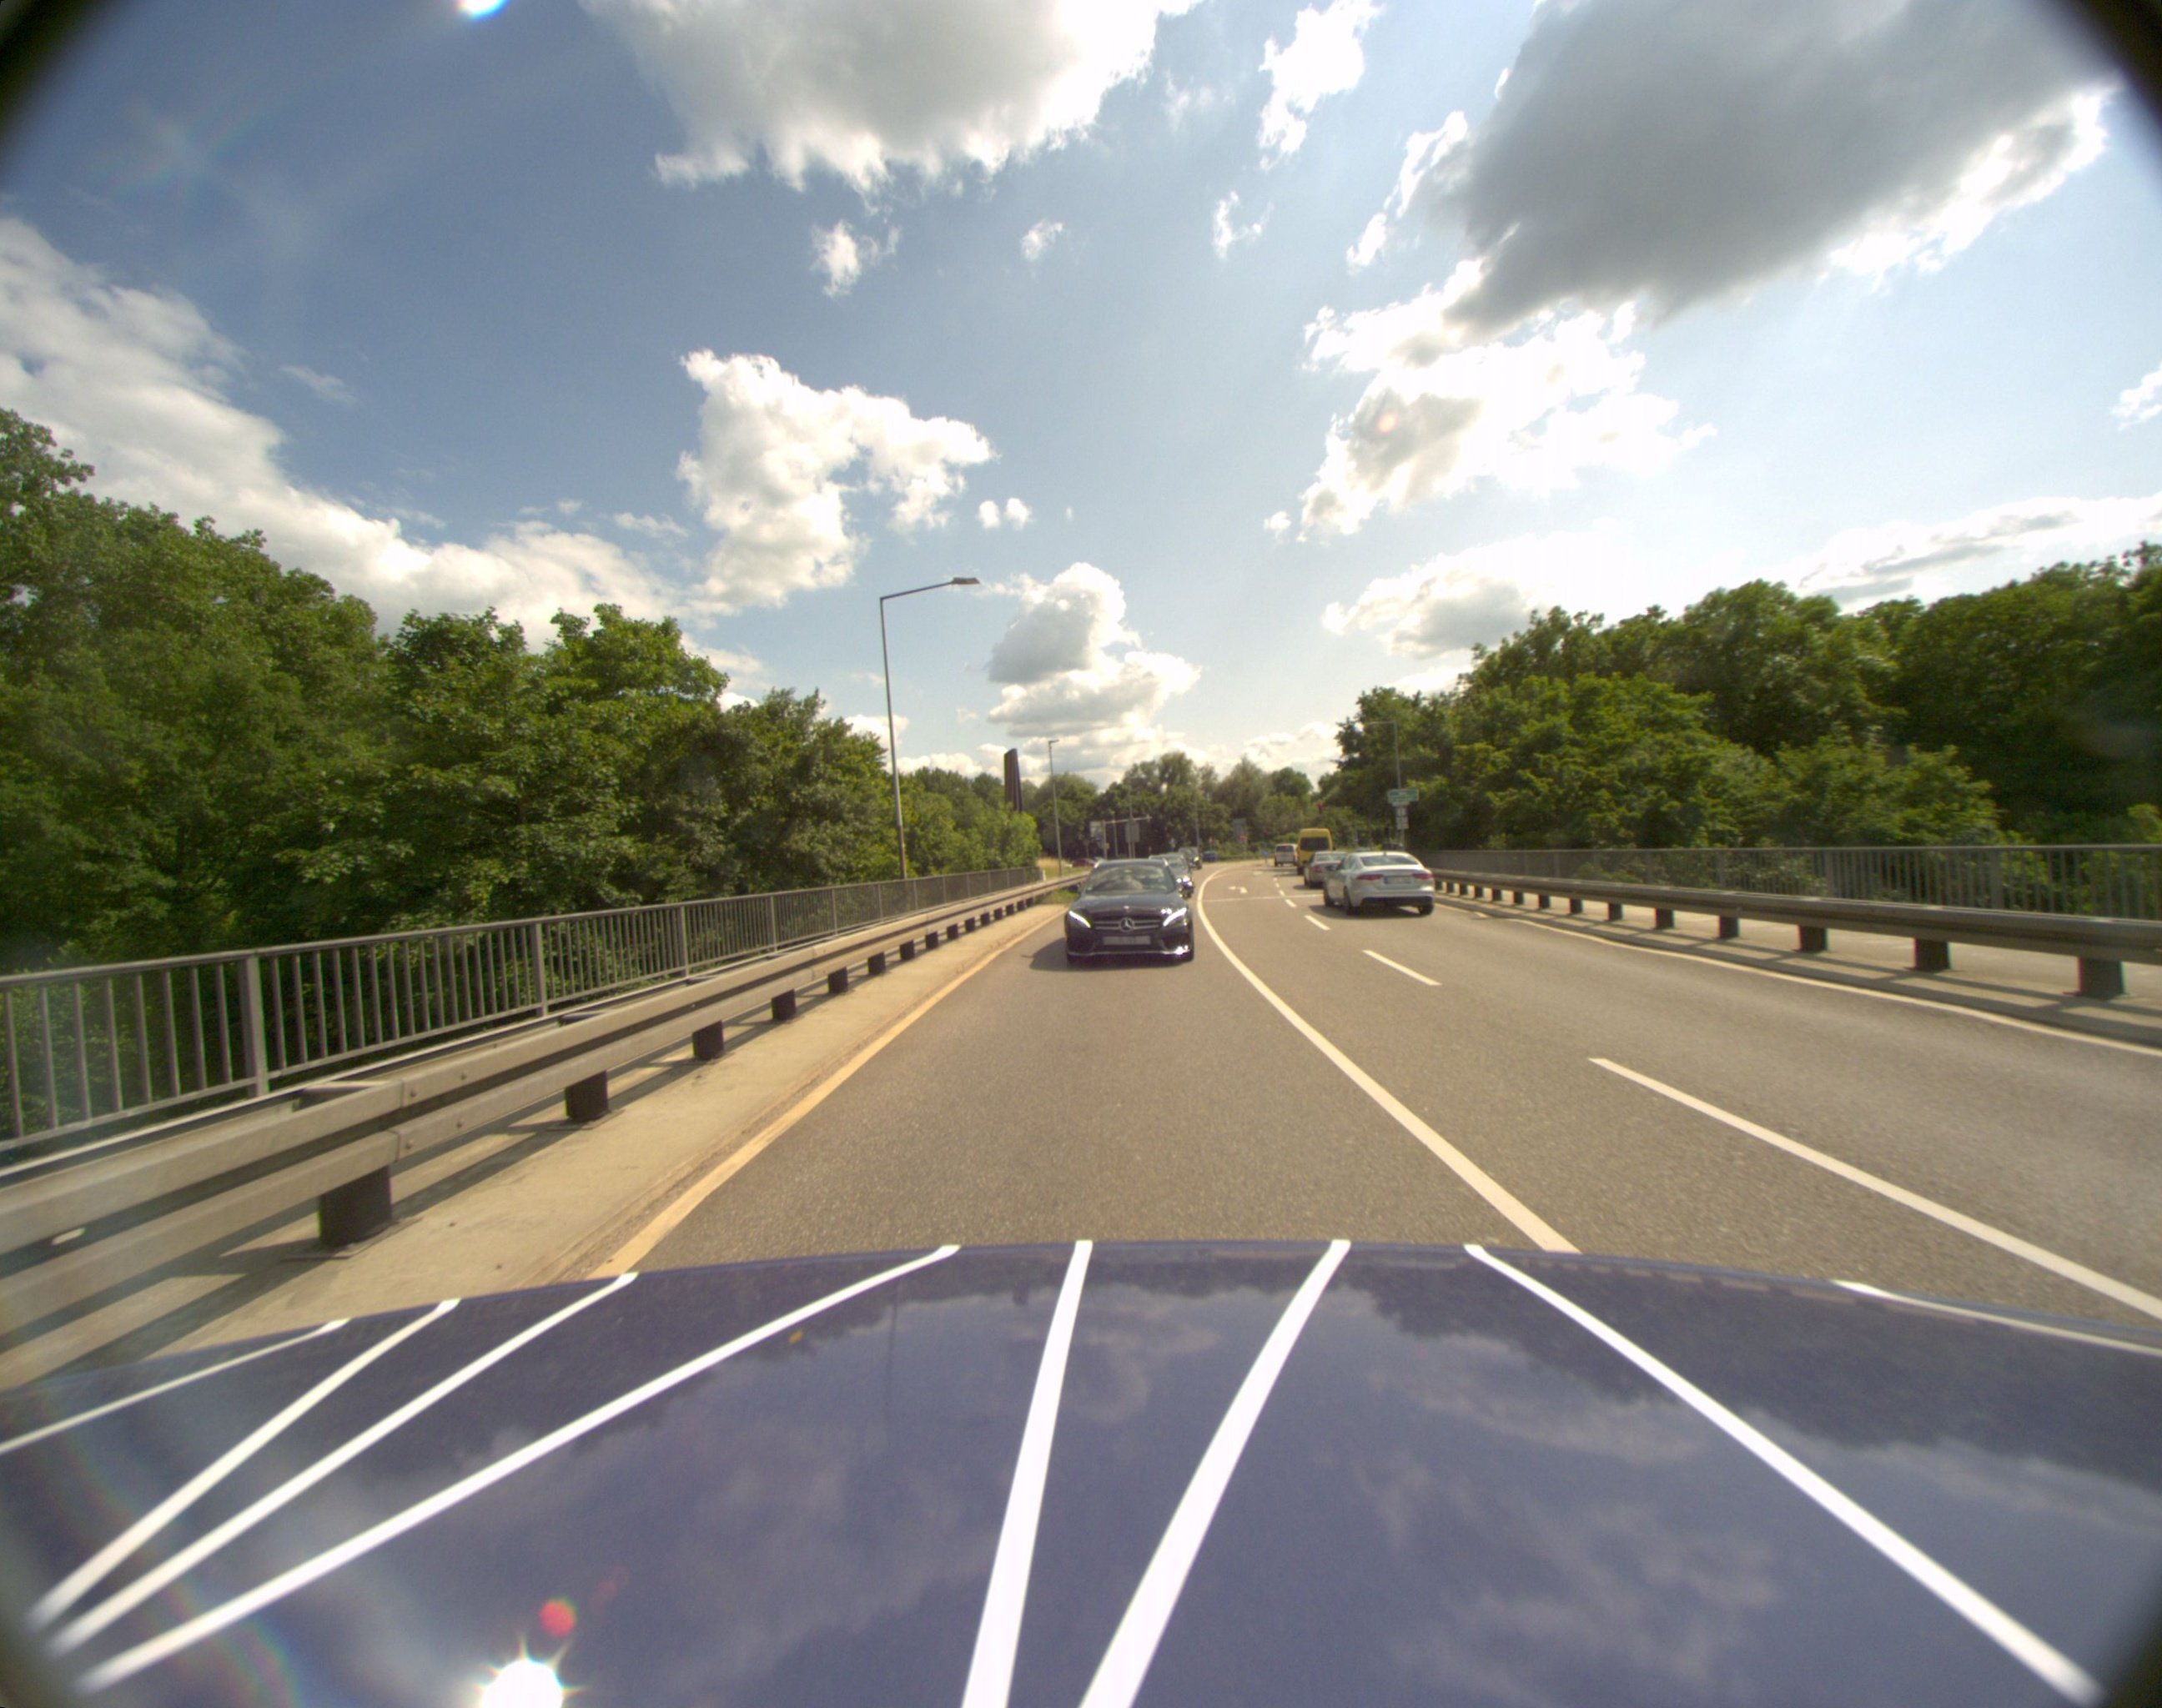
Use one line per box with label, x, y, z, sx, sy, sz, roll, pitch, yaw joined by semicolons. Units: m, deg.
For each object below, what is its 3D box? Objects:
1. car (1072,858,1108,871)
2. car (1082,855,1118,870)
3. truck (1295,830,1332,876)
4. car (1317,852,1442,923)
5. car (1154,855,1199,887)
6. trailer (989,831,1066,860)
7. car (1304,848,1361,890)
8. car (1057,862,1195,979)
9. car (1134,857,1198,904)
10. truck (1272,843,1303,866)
car;1.131;1.261;92.154;4.205;1.367;1.762;-4;-1;43
car;2.387;1.045;95.287;4.205;1.635;1.841;-4;-1;43
truck;13.984;-0.081;45.680;1.996;2.606;6.111;0;1;17
car;7.010;0.717;18.337;1.797;1.367;4.582;-2;1;8
car;4.796;0.793;37.545;1.820;1.329;4.733;-4;0;11
trailer;-8.497;-1.284;118.743;12.290;3.827;2.785;-3;0;30
car;9.912;0.550;30.197;1.750;1.441;4.341;-2;1;14
car;0.859;0.905;12.174;1.794;1.427;4.371;-1;1;7
car;3.019;0.871;26.239;1.857;1.355;4.002;-1;1;11
truck;18.299;-0.007;67.206;1.962;1.902;5.378;-2;0;22
